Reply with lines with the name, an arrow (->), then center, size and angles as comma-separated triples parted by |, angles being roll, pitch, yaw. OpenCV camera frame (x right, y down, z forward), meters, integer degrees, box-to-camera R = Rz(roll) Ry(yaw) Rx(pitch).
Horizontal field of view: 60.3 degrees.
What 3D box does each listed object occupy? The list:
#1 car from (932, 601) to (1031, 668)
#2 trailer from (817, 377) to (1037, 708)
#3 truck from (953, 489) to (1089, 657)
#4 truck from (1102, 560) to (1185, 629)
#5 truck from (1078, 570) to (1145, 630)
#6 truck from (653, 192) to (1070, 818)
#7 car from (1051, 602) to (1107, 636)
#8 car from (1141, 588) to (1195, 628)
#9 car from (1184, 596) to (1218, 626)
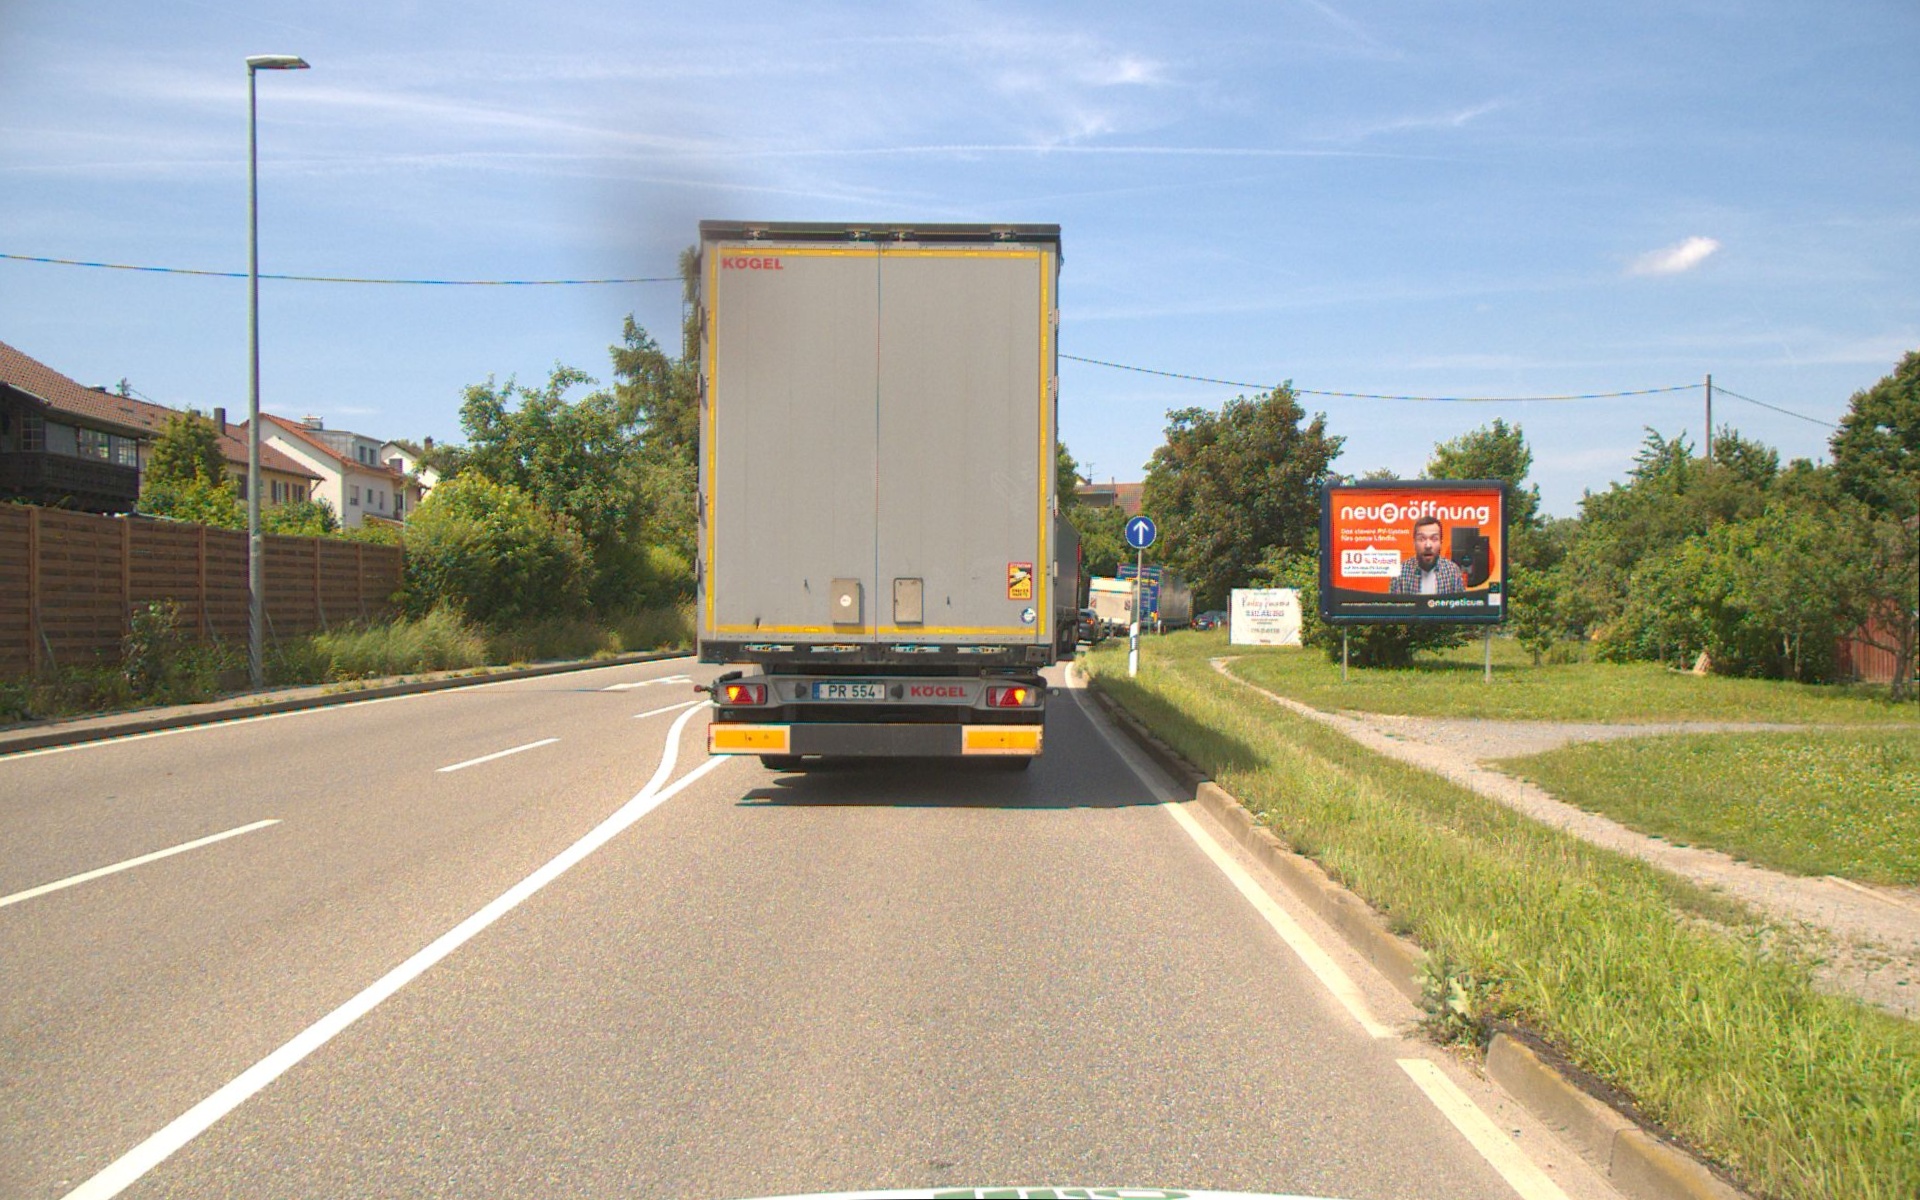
car -> 0.529, 0.735, 36.598 | 1.780, 1.370, 3.850 | 1, -1, 6
trailer -> -0.352, -0.757, 24.338 | 2.767, 4.183, 6.545 | 0, 0, 1
truck -> 2.234, -0.626, 51.488 | 2.702, 4.364, 16.427 | 1, -1, 7
truck -> 10.519, -0.334, 93.903 | 3.360, 3.667, 9.361 | 1, 1, 14
truck -> 7.624, 0.033, 82.472 | 2.489, 2.852, 6.036 | 1, -1, 13
truck -> -0.530, -0.689, 16.926 | 2.764, 4.200, 11.445 | 1, 0, 1
car -> 5.186, 0.812, 71.524 | 1.951, 1.400, 4.003 | 1, -1, 11
car -> 12.915, 0.458, 102.238 | 2.478, 2.317, 6.386 | 1, 0, 15
car -> 16.918, 0.806, 115.905 | 1.951, 2.049, 4.003 | 1, -1, 15
